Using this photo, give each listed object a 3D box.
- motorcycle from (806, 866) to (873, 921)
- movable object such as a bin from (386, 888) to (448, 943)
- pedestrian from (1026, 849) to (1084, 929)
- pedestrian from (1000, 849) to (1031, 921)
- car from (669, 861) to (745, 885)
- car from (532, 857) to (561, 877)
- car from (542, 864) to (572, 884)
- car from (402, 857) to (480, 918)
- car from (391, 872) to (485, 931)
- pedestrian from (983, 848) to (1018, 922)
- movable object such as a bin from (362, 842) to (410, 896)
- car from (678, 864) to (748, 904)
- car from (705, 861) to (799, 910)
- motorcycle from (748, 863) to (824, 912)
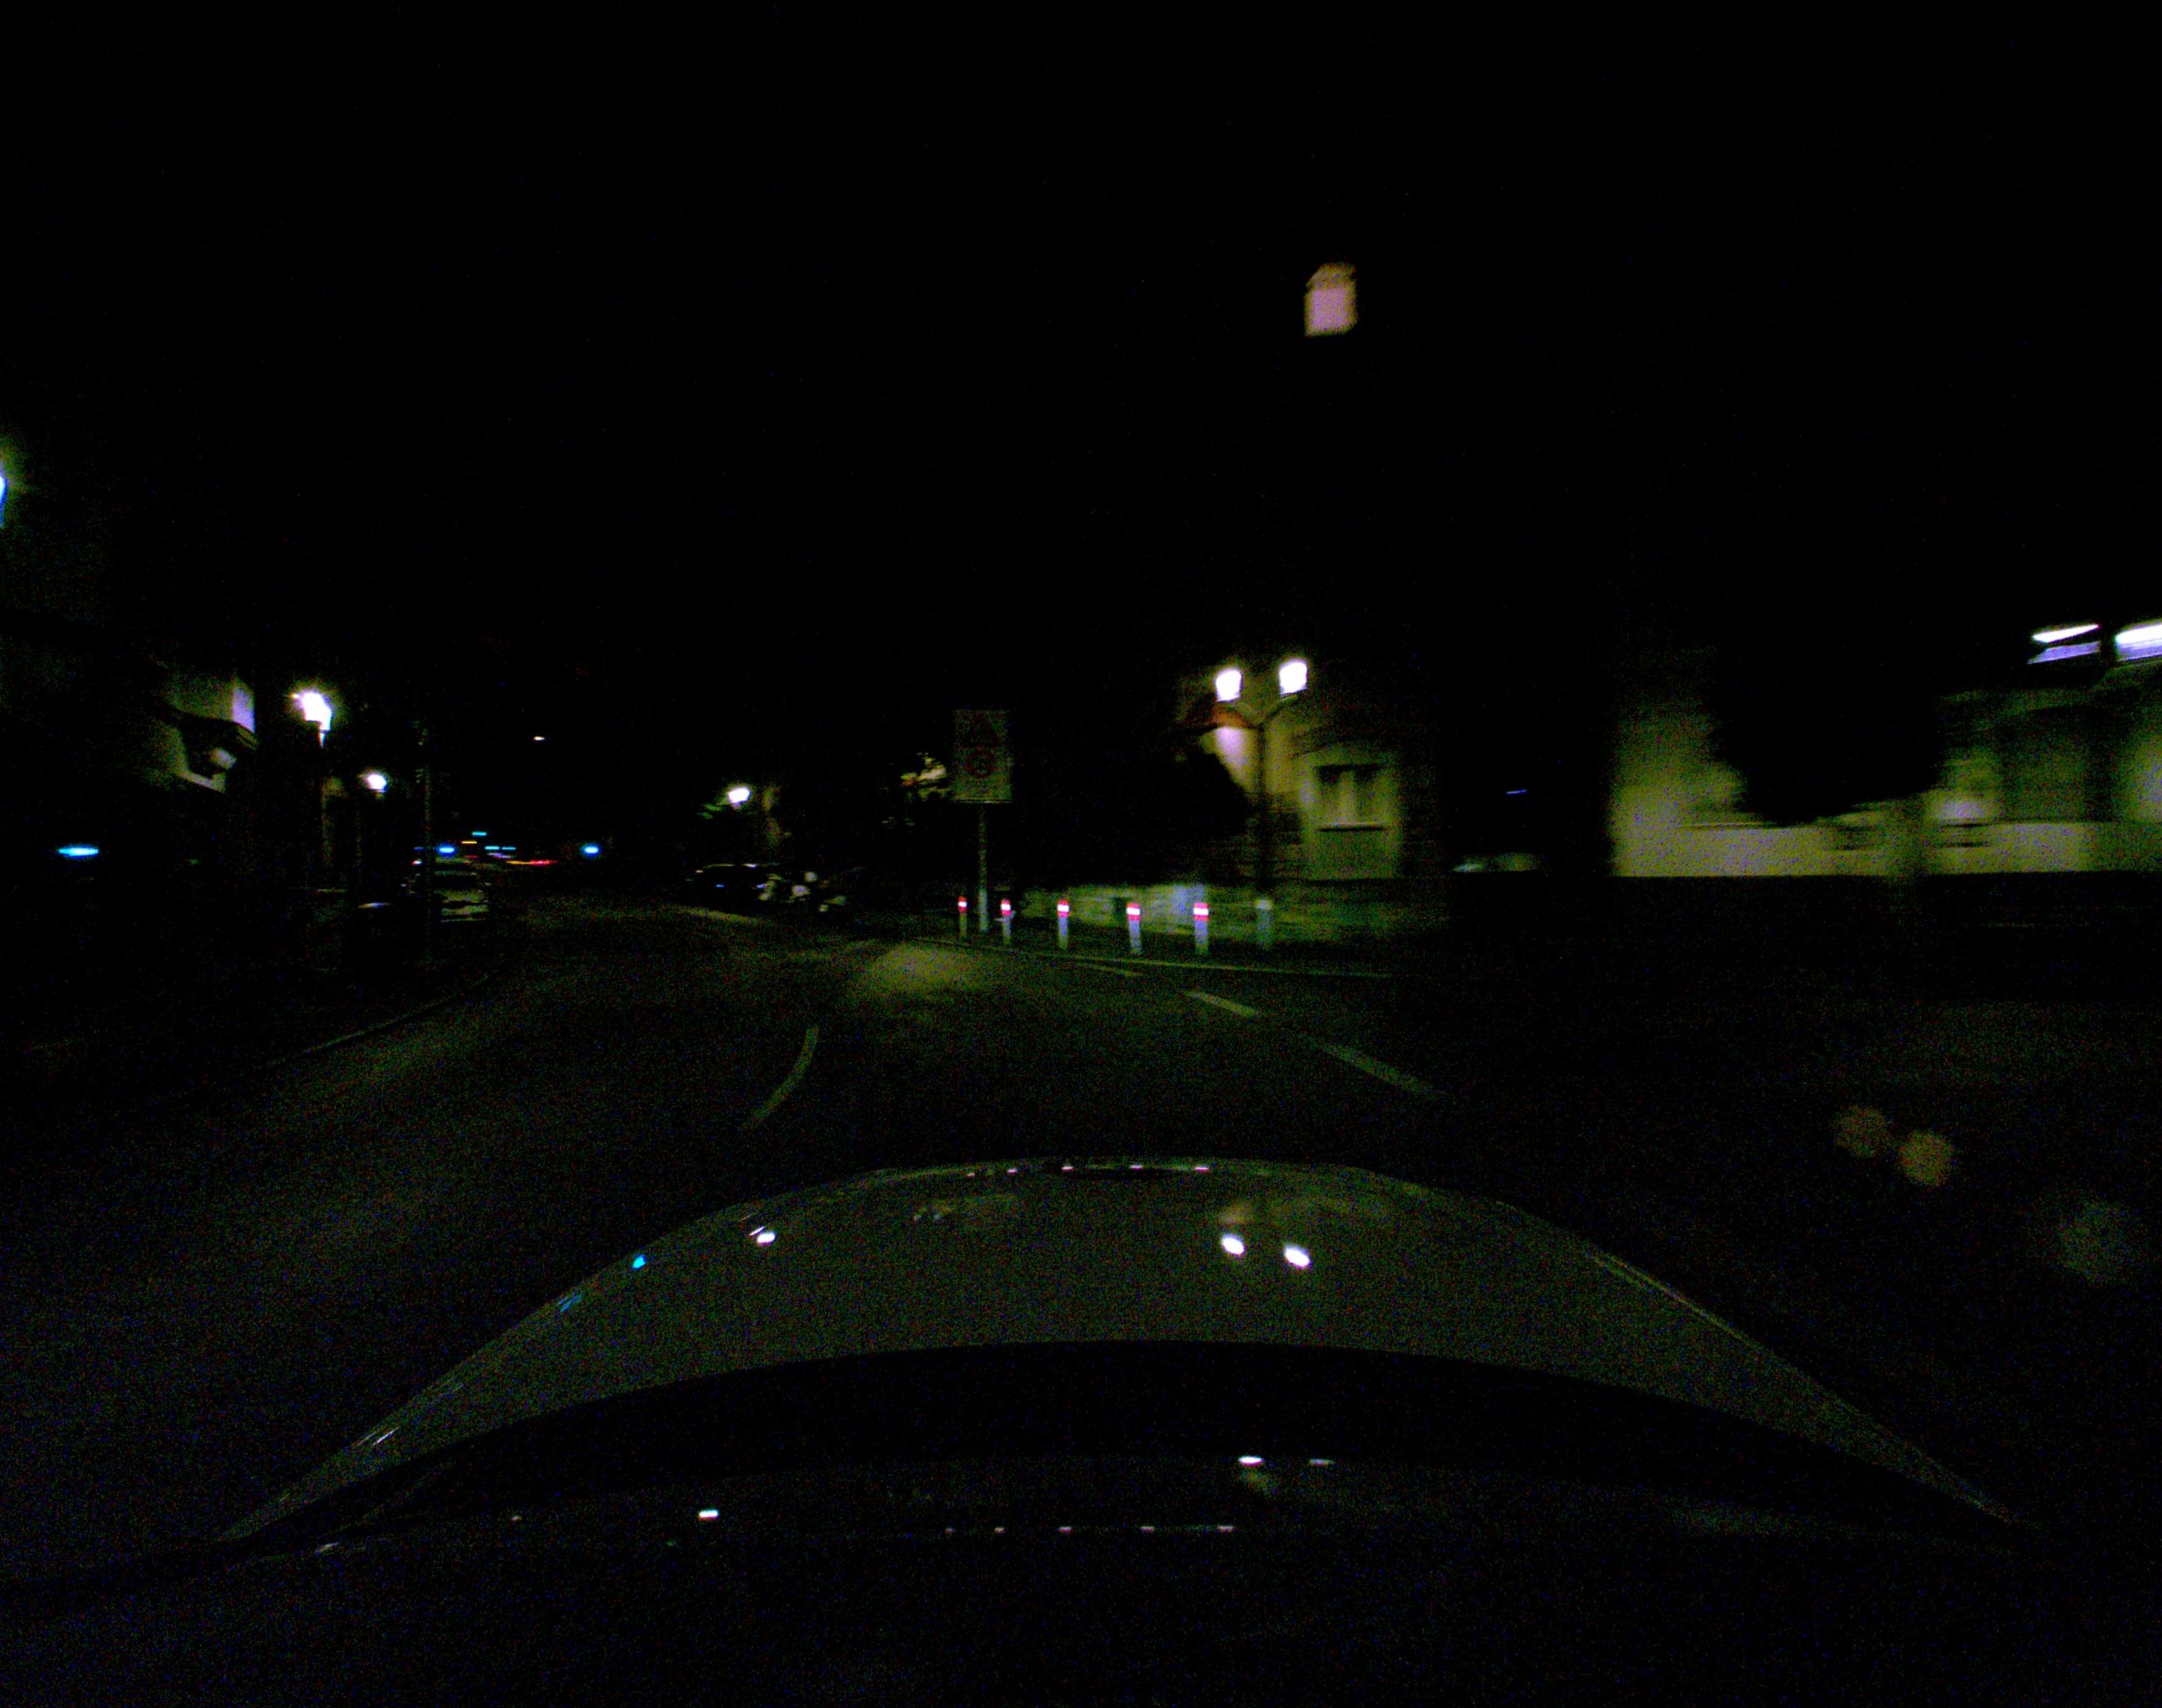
[{"bbox_3d":[-6.436,1.023,21.806,0.754,1.353,1.953,-1,0,17],"label":"motorcycle"},{"bbox_3d":[-13.258,1.215,16.277,0.619,1.049,0.691,-1,-2,11],"label":"movable object such as a bin"},{"bbox_3d":[-0.557,0.731,17.278,0.813,1.631,0.955,0,-1,-38],"label":"pedestrian"},{"bbox_3d":[-1.578,0.733,19.676,0.480,1.709,0.564,-1,0,-38],"label":"pedestrian"},{"bbox_3d":[-23.876,1.202,52.053,4.048,1.422,1.830,-1,-2,-40],"label":"car"},{"bbox_3d":[-51.038,1.231,77.731,1.750,1.855,4.265,-1,0,-40],"label":"car"},{"bbox_3d":[-44.523,1.685,69.210,1.754,1.477,3.955,-3,2,-38],"label":"car"},{"bbox_3d":[-21.498,1.048,27.325,1.898,1.843,4.759,0,-1,-39],"label":"car"},{"bbox_3d":[-17.596,1.214,22.401,1.853,1.450,4.826,1,-1,-37],"label":"car"},{"bbox_3d":[-1.909,0.726,19.229,0.511,1.709,0.697,-1,0,-38],"label":"pedestrian"},{"bbox_3d":[-35.522,0.751,41.696,1.584,2.626,3.865,-1,0,-37],"label":"movable object such as a bin"},{"bbox_3d":[-14.552,1.138,32.113,1.750,1.454,3.956,-1,0,-36],"label":"car"},{"bbox_3d":[-11.393,1.032,28.029,1.747,1.501,4.415,-1,0,-39],"label":"car"},{"bbox_3d":[-9.424,1.042,26.056,0.913,1.406,2.072,-1,1,42],"label":"motorcycle"}]
